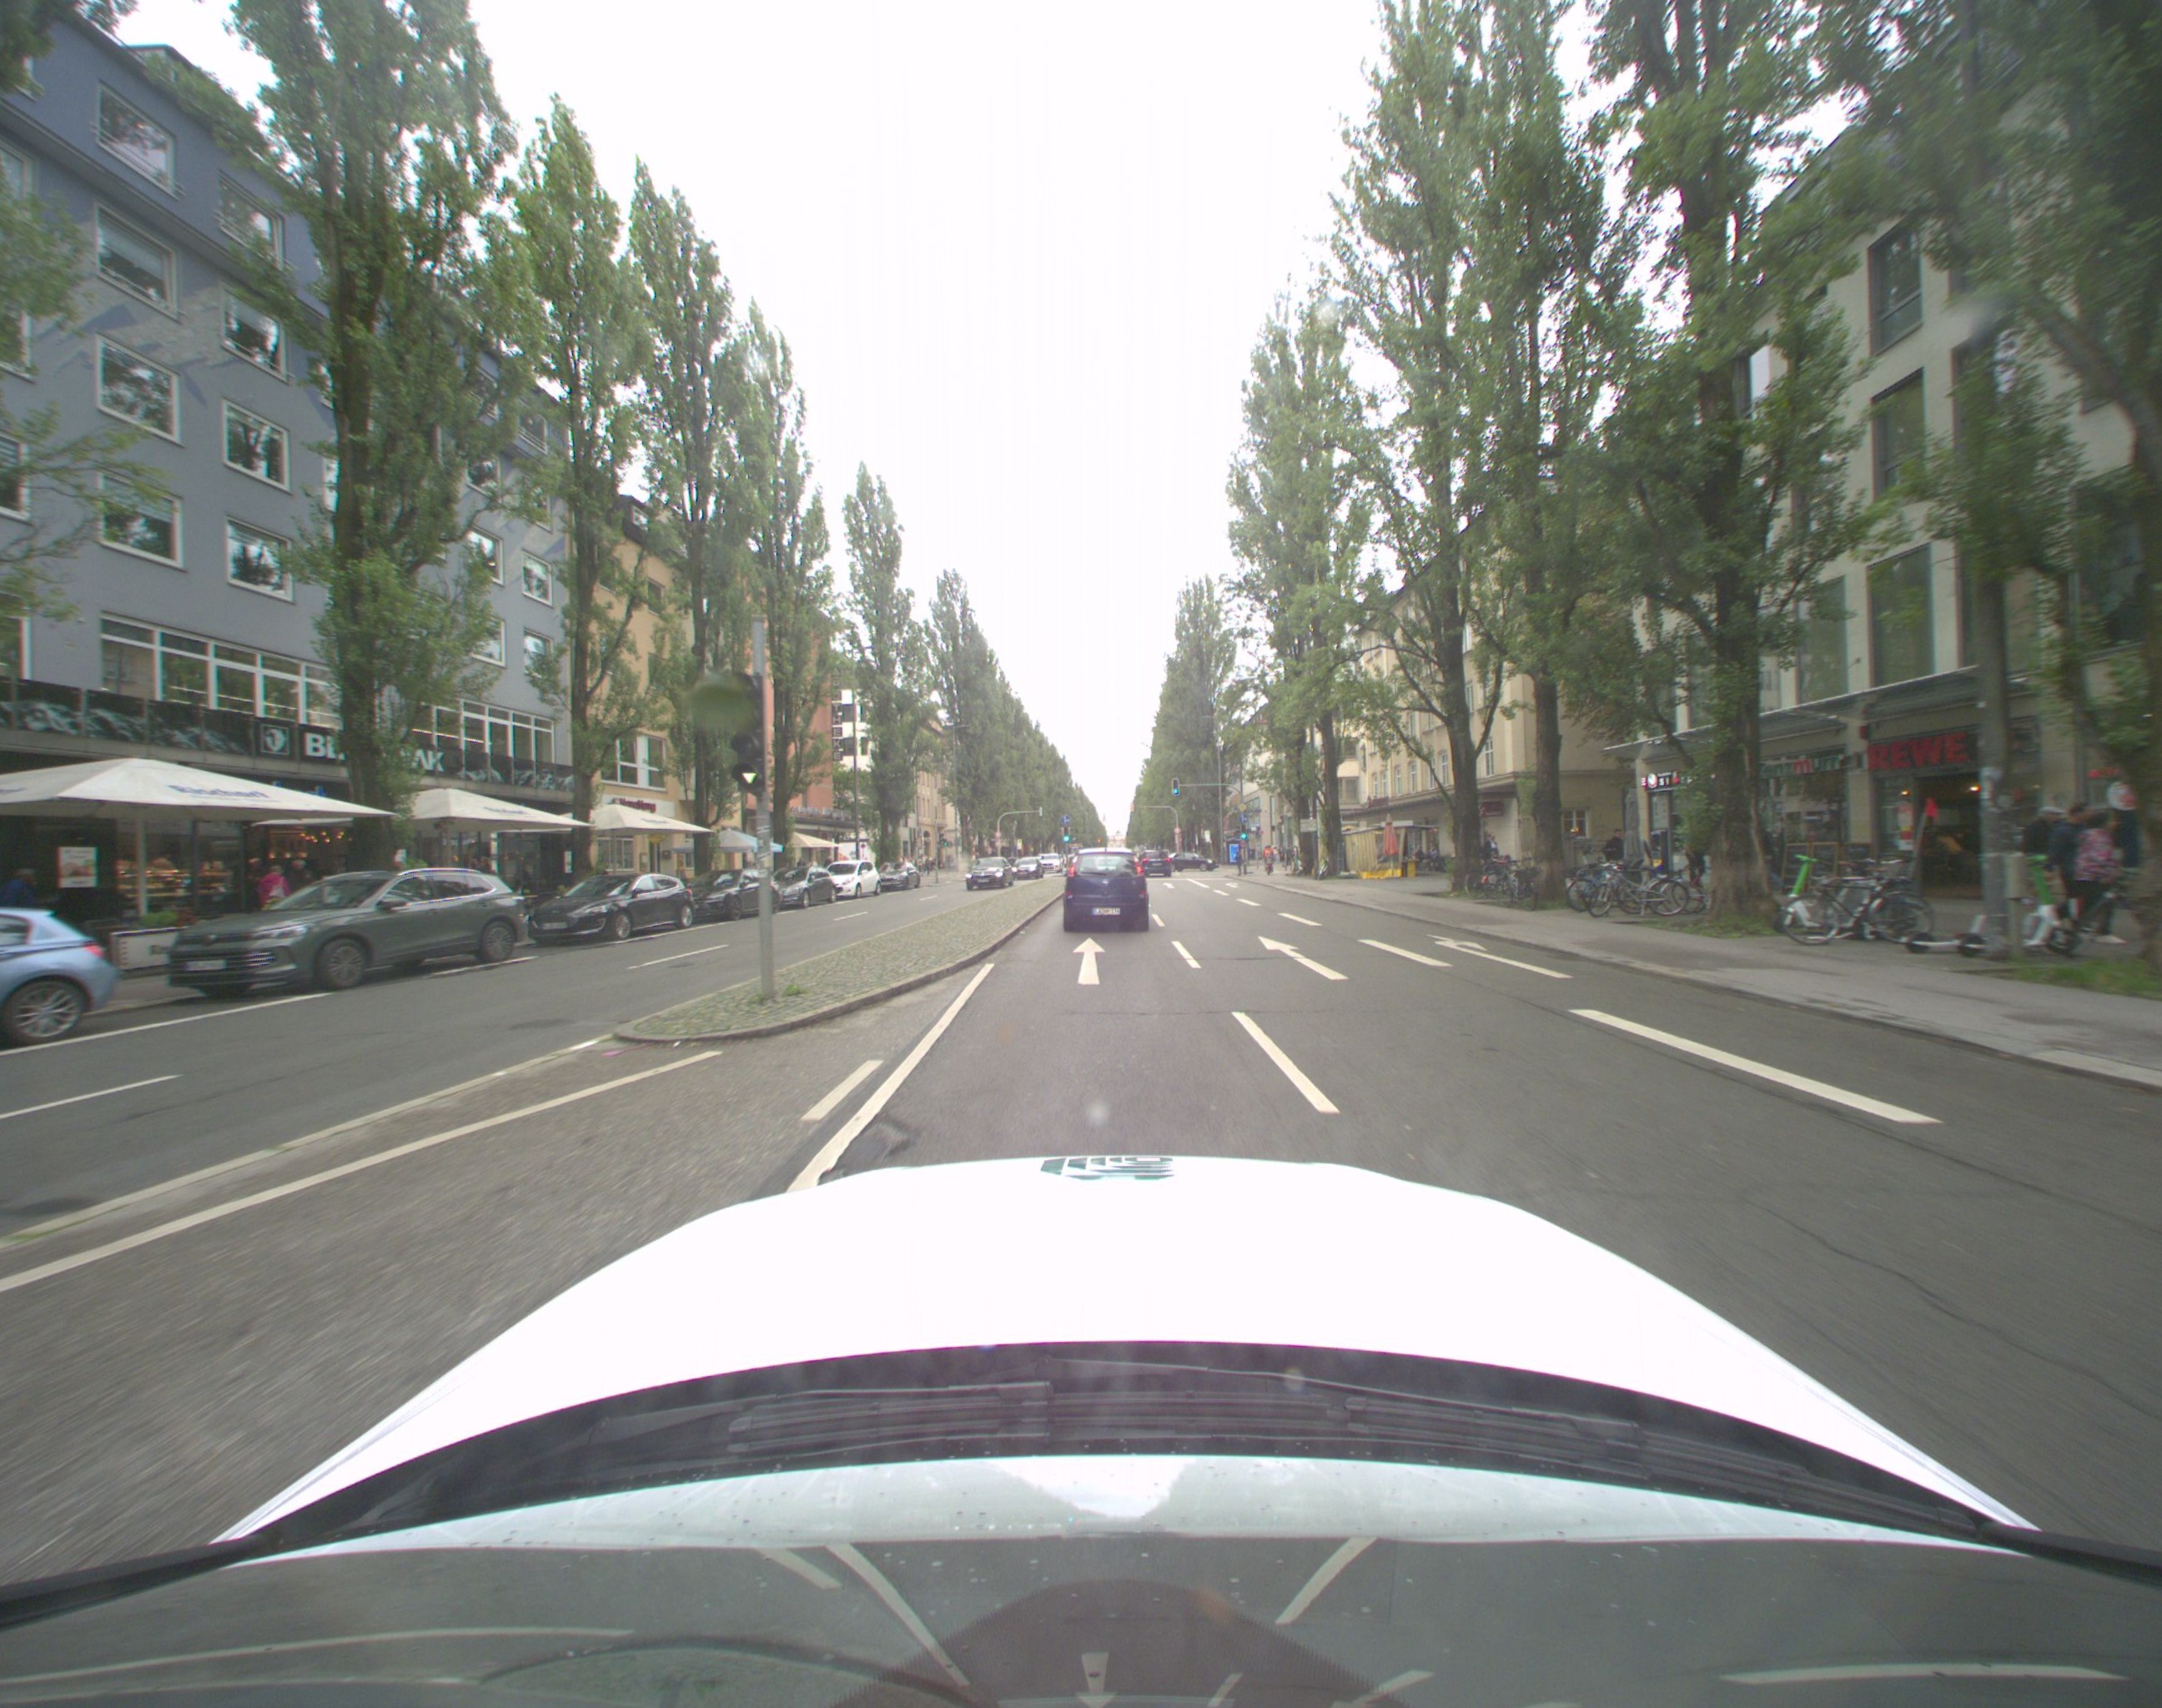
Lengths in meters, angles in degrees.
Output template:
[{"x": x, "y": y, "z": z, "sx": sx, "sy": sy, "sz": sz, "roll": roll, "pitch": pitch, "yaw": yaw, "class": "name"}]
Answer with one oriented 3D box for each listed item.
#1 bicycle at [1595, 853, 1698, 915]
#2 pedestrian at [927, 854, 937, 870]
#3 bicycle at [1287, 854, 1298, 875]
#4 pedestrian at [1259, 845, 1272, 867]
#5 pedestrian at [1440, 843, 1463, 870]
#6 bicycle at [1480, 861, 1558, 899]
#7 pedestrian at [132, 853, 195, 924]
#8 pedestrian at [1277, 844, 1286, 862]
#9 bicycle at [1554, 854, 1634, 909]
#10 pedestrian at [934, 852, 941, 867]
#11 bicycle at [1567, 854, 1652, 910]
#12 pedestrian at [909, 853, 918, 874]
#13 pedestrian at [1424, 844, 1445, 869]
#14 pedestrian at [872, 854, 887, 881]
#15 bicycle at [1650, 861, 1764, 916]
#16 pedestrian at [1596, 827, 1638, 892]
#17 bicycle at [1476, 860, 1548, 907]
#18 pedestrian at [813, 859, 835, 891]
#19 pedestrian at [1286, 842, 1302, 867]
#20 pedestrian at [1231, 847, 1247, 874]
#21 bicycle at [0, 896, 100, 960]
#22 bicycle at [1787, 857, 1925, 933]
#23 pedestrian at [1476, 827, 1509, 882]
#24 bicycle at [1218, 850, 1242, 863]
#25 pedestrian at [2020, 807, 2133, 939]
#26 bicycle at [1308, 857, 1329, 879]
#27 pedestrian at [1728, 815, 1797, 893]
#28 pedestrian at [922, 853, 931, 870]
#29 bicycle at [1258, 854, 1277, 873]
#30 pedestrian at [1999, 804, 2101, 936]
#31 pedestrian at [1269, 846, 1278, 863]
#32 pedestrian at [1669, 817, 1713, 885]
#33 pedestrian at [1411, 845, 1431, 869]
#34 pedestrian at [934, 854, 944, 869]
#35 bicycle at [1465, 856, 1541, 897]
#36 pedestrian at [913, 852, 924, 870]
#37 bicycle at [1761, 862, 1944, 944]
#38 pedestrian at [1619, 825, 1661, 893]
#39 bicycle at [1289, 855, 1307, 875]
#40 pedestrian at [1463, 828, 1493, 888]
[{"x": 11.039, "y": 0.572, "z": 15.891, "sx": 1.863, "sy": 1.135, "sz": 0.339, "roll": -2, "pitch": 0, "yaw": -6, "class": "bicycle"}, {"x": -14.071, "y": 0.753, "z": 77.101, "sx": 0.748, "sy": 1.567, "sz": 0.989, "roll": 0, "pitch": -1, "yaw": 0, "class": "pedestrian"}, {"x": 11.771, "y": 0.576, "z": 45.379, "sx": 0.401, "sy": 1.070, "sz": 1.820, "roll": 4, "pitch": 1, "yaw": 18, "class": "bicycle"}, {"x": 15.615, "y": 0.162, "z": 68.918, "sx": 0.815, "sy": 1.818, "sz": 0.891, "roll": -1, "pitch": 0, "yaw": 1, "class": "pedestrian"}, {"x": 18.133, "y": 0.130, "z": 39.872, "sx": 0.772, "sy": 1.264, "sz": 0.700, "roll": -2, "pitch": 0, "yaw": 3, "class": "pedestrian"}, {"x": 11.530, "y": 0.672, "z": 21.459, "sx": 1.996, "sy": 0.945, "sz": 0.285, "roll": -1, "pitch": 0, "yaw": -6, "class": "bicycle"}, {"x": -24.027, "y": 0.894, "z": 21.345, "sx": 0.777, "sy": 1.804, "sz": 0.744, "roll": -2, "pitch": 0, "yaw": 5, "class": "pedestrian"}, {"x": 20.284, "y": -0.125, "z": 82.342, "sx": 0.747, "sy": 1.758, "sz": 0.711, "roll": -1, "pitch": 0, "yaw": 4, "class": "pedestrian"}, {"x": 11.044, "y": 0.582, "z": 17.537, "sx": 1.673, "sy": 1.117, "sz": 0.285, "roll": -2, "pitch": 0, "yaw": -10, "class": "bicycle"}, {"x": -17.223, "y": 0.612, "z": 97.793, "sx": 0.696, "sy": 1.787, "sz": 0.821, "roll": -1, "pitch": 0, "yaw": 4, "class": "pedestrian"}, {"x": 11.112, "y": 0.586, "z": 17.134, "sx": 1.660, "sy": 1.107, "sz": 0.395, "roll": -2, "pitch": 0, "yaw": -10, "class": "bicycle"}, {"x": -13.990, "y": 0.788, "z": 67.921, "sx": 0.584, "sy": 1.691, "sz": 0.514, "roll": -1, "pitch": 0, "yaw": 2, "class": "pedestrian"}, {"x": 18.370, "y": 0.146, "z": 42.307, "sx": 0.772, "sy": 1.264, "sz": 0.700, "roll": -2, "pitch": 0, "yaw": 3, "class": "pedestrian"}, {"x": -13.730, "y": 0.905, "z": 55.548, "sx": 0.721, "sy": 1.771, "sz": 0.778, "roll": -1, "pitch": 0, "yaw": 3, "class": "pedestrian"}, {"x": 11.916, "y": 0.648, "z": 15.513, "sx": 1.996, "sy": 0.987, "sz": 0.392, "roll": -1, "pitch": 0, "yaw": -6, "class": "bicycle"}, {"x": 14.499, "y": 0.136, "z": 22.036, "sx": 0.654, "sy": 1.710, "sz": 0.692, "roll": -2, "pitch": 0, "yaw": 1, "class": "pedestrian"}, {"x": 10.245, "y": 0.674, "z": 19.442, "sx": 0.433, "sy": 1.061, "sz": 2.000, "roll": -2, "pitch": 0, "yaw": -7, "class": "bicycle"}, {"x": -14.530, "y": 1.164, "z": 46.125, "sx": 0.729, "sy": 1.796, "sz": 0.997, "roll": -1, "pitch": -1, "yaw": 21, "class": "pedestrian"}, {"x": 15.346, "y": 0.033, "z": 58.727, "sx": 0.670, "sy": 1.703, "sz": 0.850, "roll": 0, "pitch": -3, "yaw": -41, "class": "pedestrian"}, {"x": 9.604, "y": 0.400, "z": 49.508, "sx": 0.763, "sy": 1.609, "sz": 0.864, "roll": -2, "pitch": 0, "yaw": -2, "class": "pedestrian"}, {"x": -20.162, "y": 1.417, "z": 15.735, "sx": 0.616, "sy": 1.097, "sz": 1.576, "roll": -2, "pitch": 0, "yaw": -9, "class": "bicycle"}, {"x": 12.066, "y": 0.591, "z": 12.769, "sx": 0.389, "sy": 1.063, "sz": 2.009, "roll": -3, "pitch": 0, "yaw": 6, "class": "bicycle"}, {"x": 14.059, "y": 0.010, "z": 27.830, "sx": 0.653, "sy": 1.851, "sz": 0.907, "roll": -2, "pitch": 0, "yaw": 4, "class": "pedestrian"}, {"x": 15.146, "y": 0.210, "z": 82.701, "sx": 2.334, "sy": 1.252, "sz": 0.633, "roll": -2, "pitch": 0, "yaw": 2, "class": "bicycle"}, {"x": 12.903, "y": 0.235, "z": 10.577, "sx": 0.543, "sy": 1.648, "sz": 0.752, "roll": -1, "pitch": 0, "yaw": 5, "class": "pedestrian"}, {"x": 11.215, "y": 0.645, "z": 38.539, "sx": 0.506, "sy": 0.975, "sz": 1.770, "roll": -1, "pitch": 0, "yaw": 1, "class": "bicycle"}, {"x": 16.348, "y": 0.005, "z": 19.545, "sx": 0.813, "sy": 1.814, "sz": 0.974, "roll": -1, "pitch": 0, "yaw": -19, "class": "pedestrian"}, {"x": -15.535, "y": 0.785, "z": 81.806, "sx": 0.729, "sy": 1.681, "sz": 0.978, "roll": 0, "pitch": 0, "yaw": 2, "class": "pedestrian"}, {"x": 10.854, "y": 0.554, "z": 47.486, "sx": 0.624, "sy": 1.087, "sz": 2.264, "roll": -2, "pitch": 0, "yaw": 2, "class": "bicycle"}, {"x": 13.264, "y": 0.208, "z": 11.164, "sx": 0.562, "sy": 1.742, "sz": 0.698, "roll": -1, "pitch": 0, "yaw": 5, "class": "pedestrian"}, {"x": 19.433, "y": 0.033, "z": 82.143, "sx": 0.747, "sy": 1.758, "sz": 1.018, "roll": -1, "pitch": 0, "yaw": 4, "class": "pedestrian"}, {"x": 16.446, "y": -0.069, "z": 21.976, "sx": 0.653, "sy": 1.784, "sz": 0.674, "roll": -2, "pitch": 0, "yaw": 4, "class": "pedestrian"}, {"x": 18.562, "y": 0.158, "z": 44.467, "sx": 0.772, "sy": 1.264, "sz": 0.700, "roll": -2, "pitch": 0, "yaw": 3, "class": "pedestrian"}, {"x": -15.984, "y": 0.805, "z": 91.689, "sx": 0.775, "sy": 1.618, "sz": 0.935, "roll": -2, "pitch": 0, "yaw": 2, "class": "pedestrian"}, {"x": 11.311, "y": 0.598, "z": 21.823, "sx": 1.996, "sy": 1.083, "sz": 0.285, "roll": 0, "pitch": -1, "yaw": -6, "class": "bicycle"}, {"x": -16.321, "y": 0.695, "z": 81.822, "sx": 0.796, "sy": 1.787, "sz": 0.912, "roll": 0, "pitch": 0, "yaw": 3, "class": "pedestrian"}, {"x": 10.375, "y": 0.666, "z": 10.996, "sx": 1.827, "sy": 1.009, "sz": 0.394, "roll": -3, "pitch": 0, "yaw": 11, "class": "bicycle"}, {"x": 15.279, "y": 0.133, "z": 22.264, "sx": 0.619, "sy": 1.819, "sz": 0.692, "roll": -2, "pitch": 0, "yaw": 1, "class": "pedestrian"}, {"x": 11.517, "y": 0.578, "z": 43.273, "sx": 0.506, "sy": 1.048, "sz": 1.770, "roll": -1, "pitch": 0, "yaw": 1, "class": "bicycle"}, {"x": 13.296, "y": 0.137, "z": 27.290, "sx": 0.653, "sy": 1.971, "sz": 0.723, "roll": -2, "pitch": 0, "yaw": 5, "class": "pedestrian"}]
